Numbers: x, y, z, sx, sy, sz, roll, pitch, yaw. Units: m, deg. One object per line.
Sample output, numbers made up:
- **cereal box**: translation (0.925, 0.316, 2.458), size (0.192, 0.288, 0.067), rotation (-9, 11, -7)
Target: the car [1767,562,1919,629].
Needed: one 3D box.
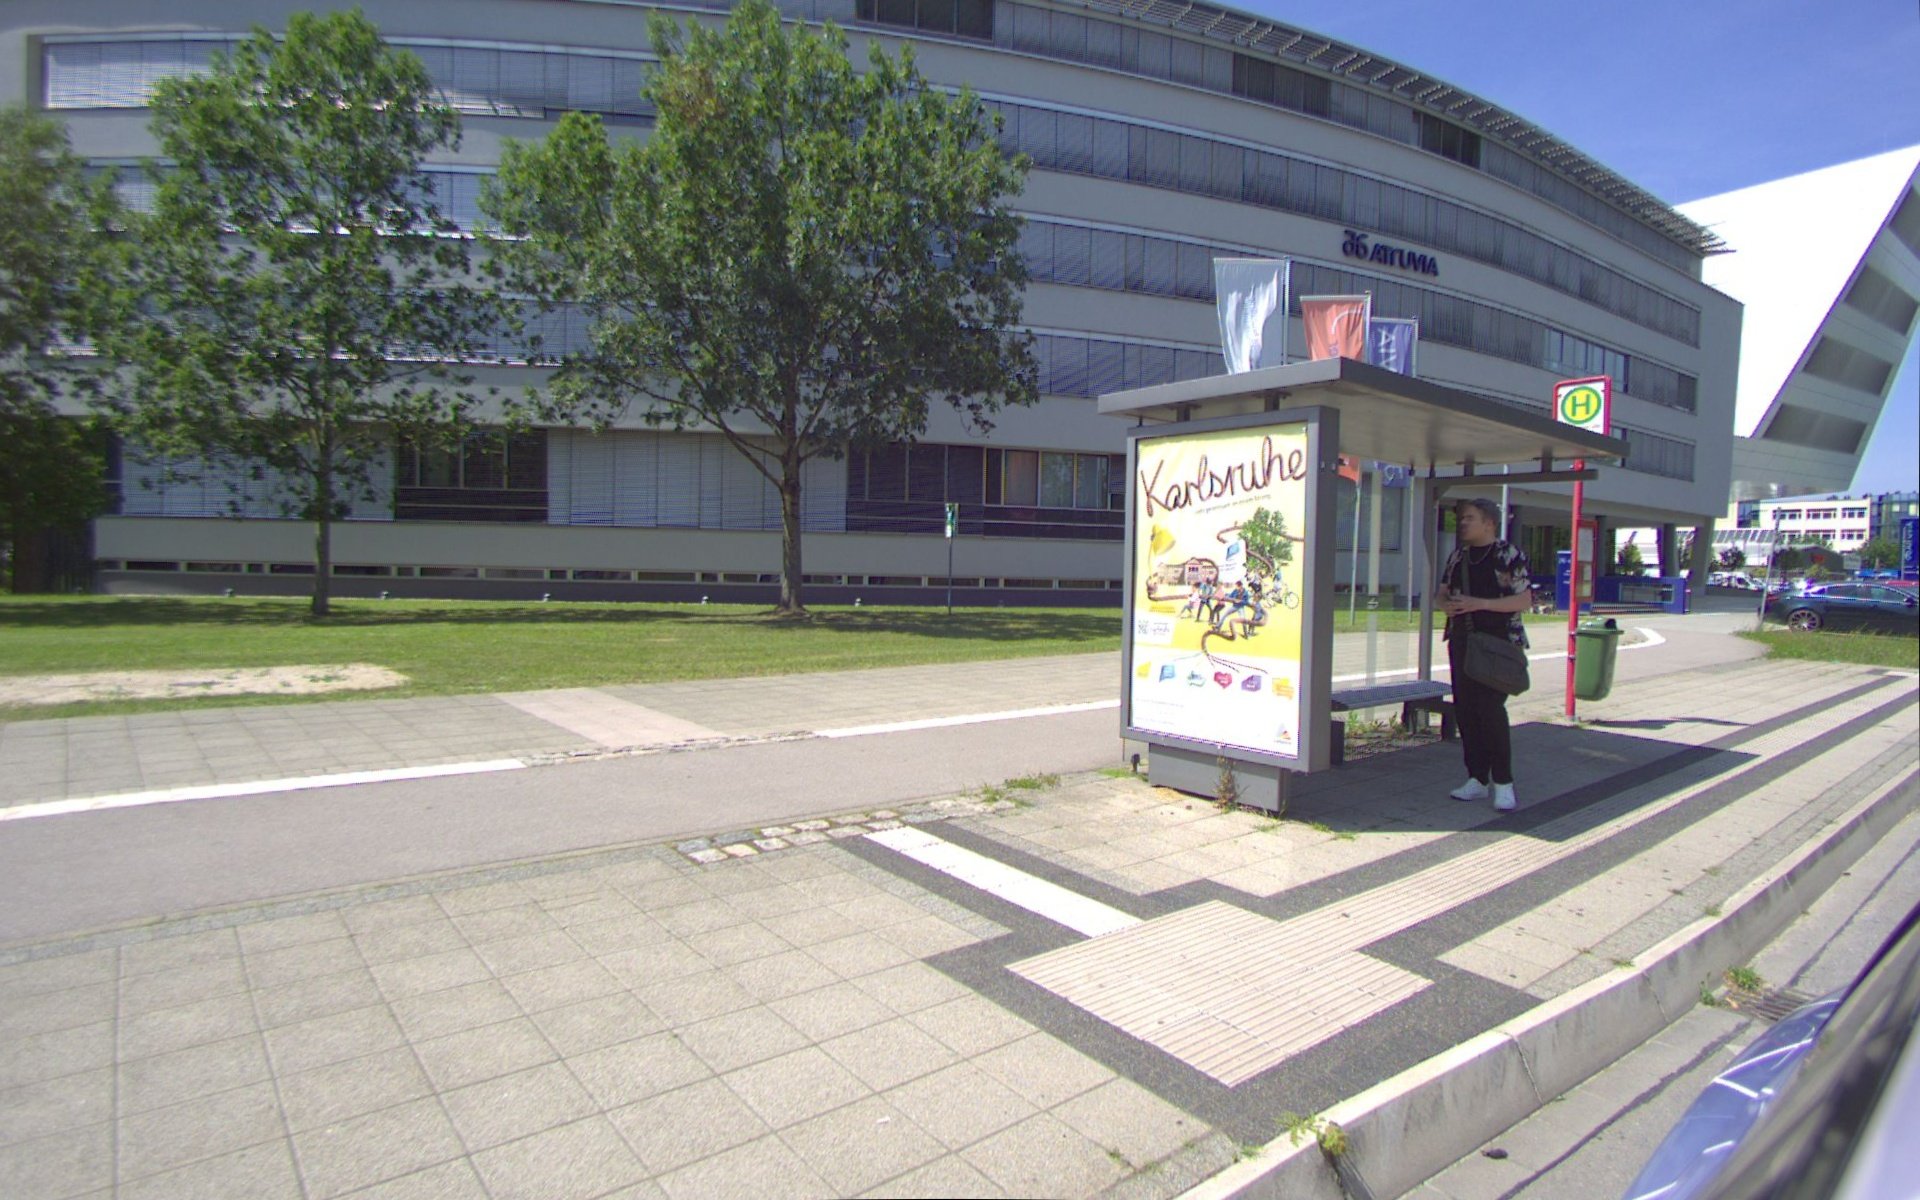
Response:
- **car**: translation (24.941, -0.159, 27.791), size (1.806, 1.675, 3.998), rotation (-1, 3, -39)

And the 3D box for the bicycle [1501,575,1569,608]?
- **bicycle**: translation (18.885, -0.293, 33.276), size (0.524, 1.073, 1.883), rotation (0, 1, -37)

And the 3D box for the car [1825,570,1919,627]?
- **car**: translation (28.859, -0.009, 30.231), size (1.754, 1.582, 4.332), rotation (-1, 4, -40)

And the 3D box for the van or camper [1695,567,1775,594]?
- **van or camper**: translation (72.651, -1.851, 94.917), size (1.671, 2.420, 5.708), rotation (0, 1, -34)

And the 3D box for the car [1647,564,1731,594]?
- **car**: translation (62.726, -1.803, 87.167), size (1.962, 2.490, 5.589), rotation (-1, 1, -34)

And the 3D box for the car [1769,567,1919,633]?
- **car**: translation (23.492, 0.007, 25.513), size (1.796, 1.449, 4.576), rotation (-1, 5, -42)

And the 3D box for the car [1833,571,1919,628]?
- **car**: translation (27.246, 0.004, 28.458), size (1.626, 1.504, 3.818), rotation (-1, 4, -39)

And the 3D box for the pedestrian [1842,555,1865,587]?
- **pedestrian**: translation (47.764, -1.540, 54.091), size (0.762, 1.680, 0.843), rotation (-1, 1, -42)

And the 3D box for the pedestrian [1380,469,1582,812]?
- **pedestrian**: translation (3.056, 0.194, 5.947), size (0.812, 1.844, 0.709), rotation (-1, 4, -41)
